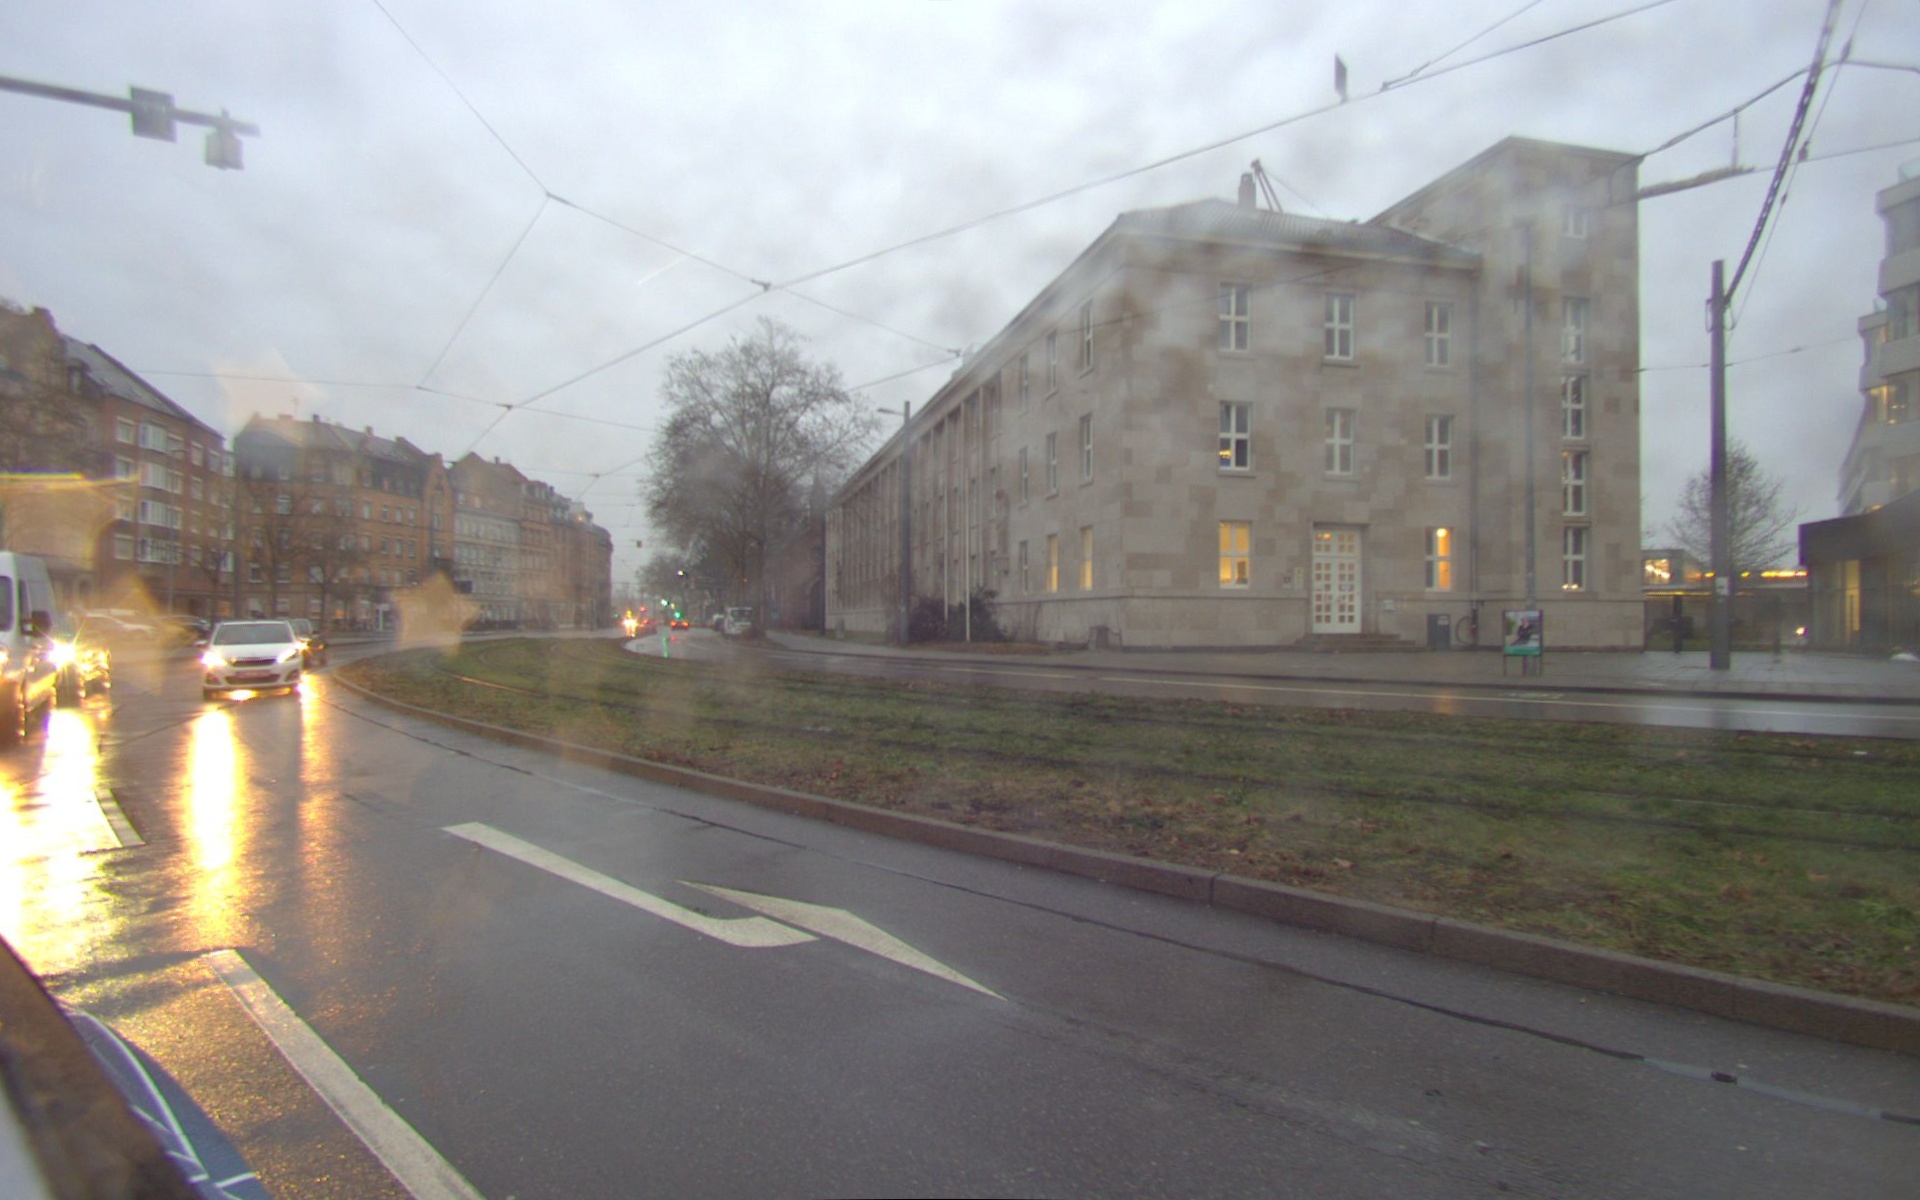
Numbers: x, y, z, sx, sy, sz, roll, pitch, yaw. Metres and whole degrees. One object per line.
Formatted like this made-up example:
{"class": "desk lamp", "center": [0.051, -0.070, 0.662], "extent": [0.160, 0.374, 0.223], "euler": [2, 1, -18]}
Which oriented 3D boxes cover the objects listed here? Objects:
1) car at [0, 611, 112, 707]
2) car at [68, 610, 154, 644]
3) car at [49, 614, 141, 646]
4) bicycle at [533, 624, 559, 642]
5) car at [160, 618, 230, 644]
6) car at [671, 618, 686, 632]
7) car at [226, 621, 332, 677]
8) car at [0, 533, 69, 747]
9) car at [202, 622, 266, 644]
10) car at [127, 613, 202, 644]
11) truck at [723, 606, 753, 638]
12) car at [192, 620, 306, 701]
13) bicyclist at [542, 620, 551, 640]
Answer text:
{"class": "car", "center": [-18.101, 1.090, 19.878], "extent": [1.846, 1.701, 4.181], "euler": [0, -1, -35]}
{"class": "car", "center": [-41.559, 1.311, 49.596], "extent": [3.135, 1.636, 1.431], "euler": [1, -2, -37]}
{"class": "car", "center": [-40.226, 1.403, 47.151], "extent": [3.135, 1.440, 1.431], "euler": [1, -2, -37]}
{"class": "bicycle", "center": [-41.595, 3.287, 101.755], "extent": [2.410, 1.719, 0.848], "euler": [-1, 0, -19]}
{"class": "car", "center": [-43.746, 1.747, 57.909], "extent": [3.134, 1.424, 1.385], "euler": [1, -2, -35]}
{"class": "car", "center": [-32.733, 2.910, 117.635], "extent": [1.662, 1.652, 3.657], "euler": [0, -1, -16]}
{"class": "car", "center": [-20.286, 1.411, 30.304], "extent": [1.809, 1.545, 3.828], "euler": [0, -2, -21]}
{"class": "car", "center": [-13.520, 0.505, 13.439], "extent": [2.207, 2.481, 5.681], "euler": [0, -1, -38]}
{"class": "car", "center": [-44.350, 1.993, 61.872], "extent": [3.134, 1.293, 1.385], "euler": [1, -2, -35]}
{"class": "car", "center": [-43.120, 1.532, 54.933], "extent": [3.135, 1.636, 1.449], "euler": [1, -2, -37]}
{"class": "truck", "center": [-14.505, 1.433, 66.047], "extent": [1.808, 2.060, 4.010], "euler": [0, -1, -13]}
{"class": "car", "center": [-14.043, 1.125, 20.131], "extent": [1.662, 1.441, 3.356], "euler": [0, -1, -32]}
{"class": "bicyclist", "center": [-41.602, 2.993, 101.745], "extent": [0.766, 2.029, 0.833], "euler": [-1, 0, -19]}
